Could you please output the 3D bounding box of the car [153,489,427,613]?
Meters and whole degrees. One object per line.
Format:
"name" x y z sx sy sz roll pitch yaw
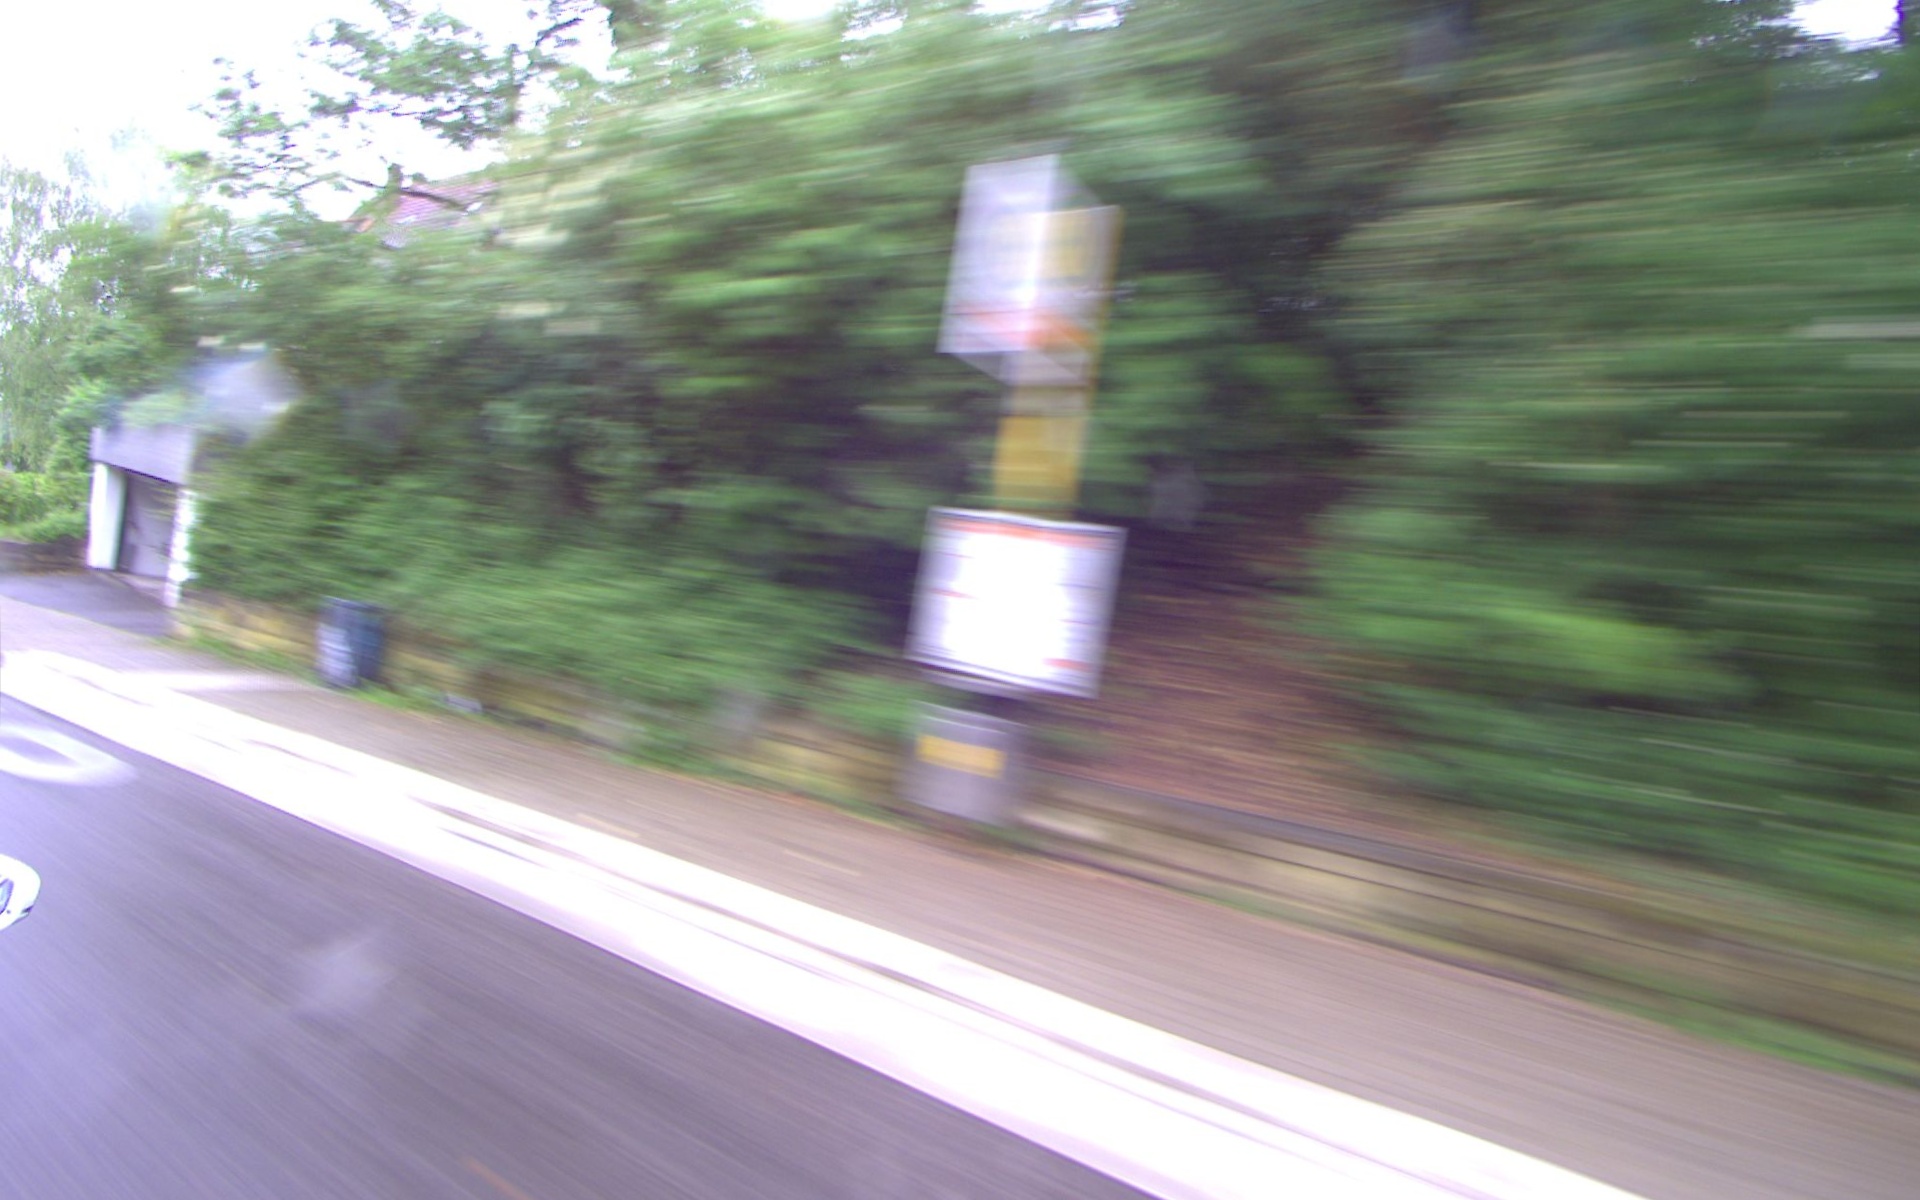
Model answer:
"car" -13.026 -0.895 19.776 1.771 1.647 3.990 11 0 37

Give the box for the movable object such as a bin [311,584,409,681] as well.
"movable object such as a bin" -5.440 0.298 9.128 0.494 0.797 0.507 6 -1 29
